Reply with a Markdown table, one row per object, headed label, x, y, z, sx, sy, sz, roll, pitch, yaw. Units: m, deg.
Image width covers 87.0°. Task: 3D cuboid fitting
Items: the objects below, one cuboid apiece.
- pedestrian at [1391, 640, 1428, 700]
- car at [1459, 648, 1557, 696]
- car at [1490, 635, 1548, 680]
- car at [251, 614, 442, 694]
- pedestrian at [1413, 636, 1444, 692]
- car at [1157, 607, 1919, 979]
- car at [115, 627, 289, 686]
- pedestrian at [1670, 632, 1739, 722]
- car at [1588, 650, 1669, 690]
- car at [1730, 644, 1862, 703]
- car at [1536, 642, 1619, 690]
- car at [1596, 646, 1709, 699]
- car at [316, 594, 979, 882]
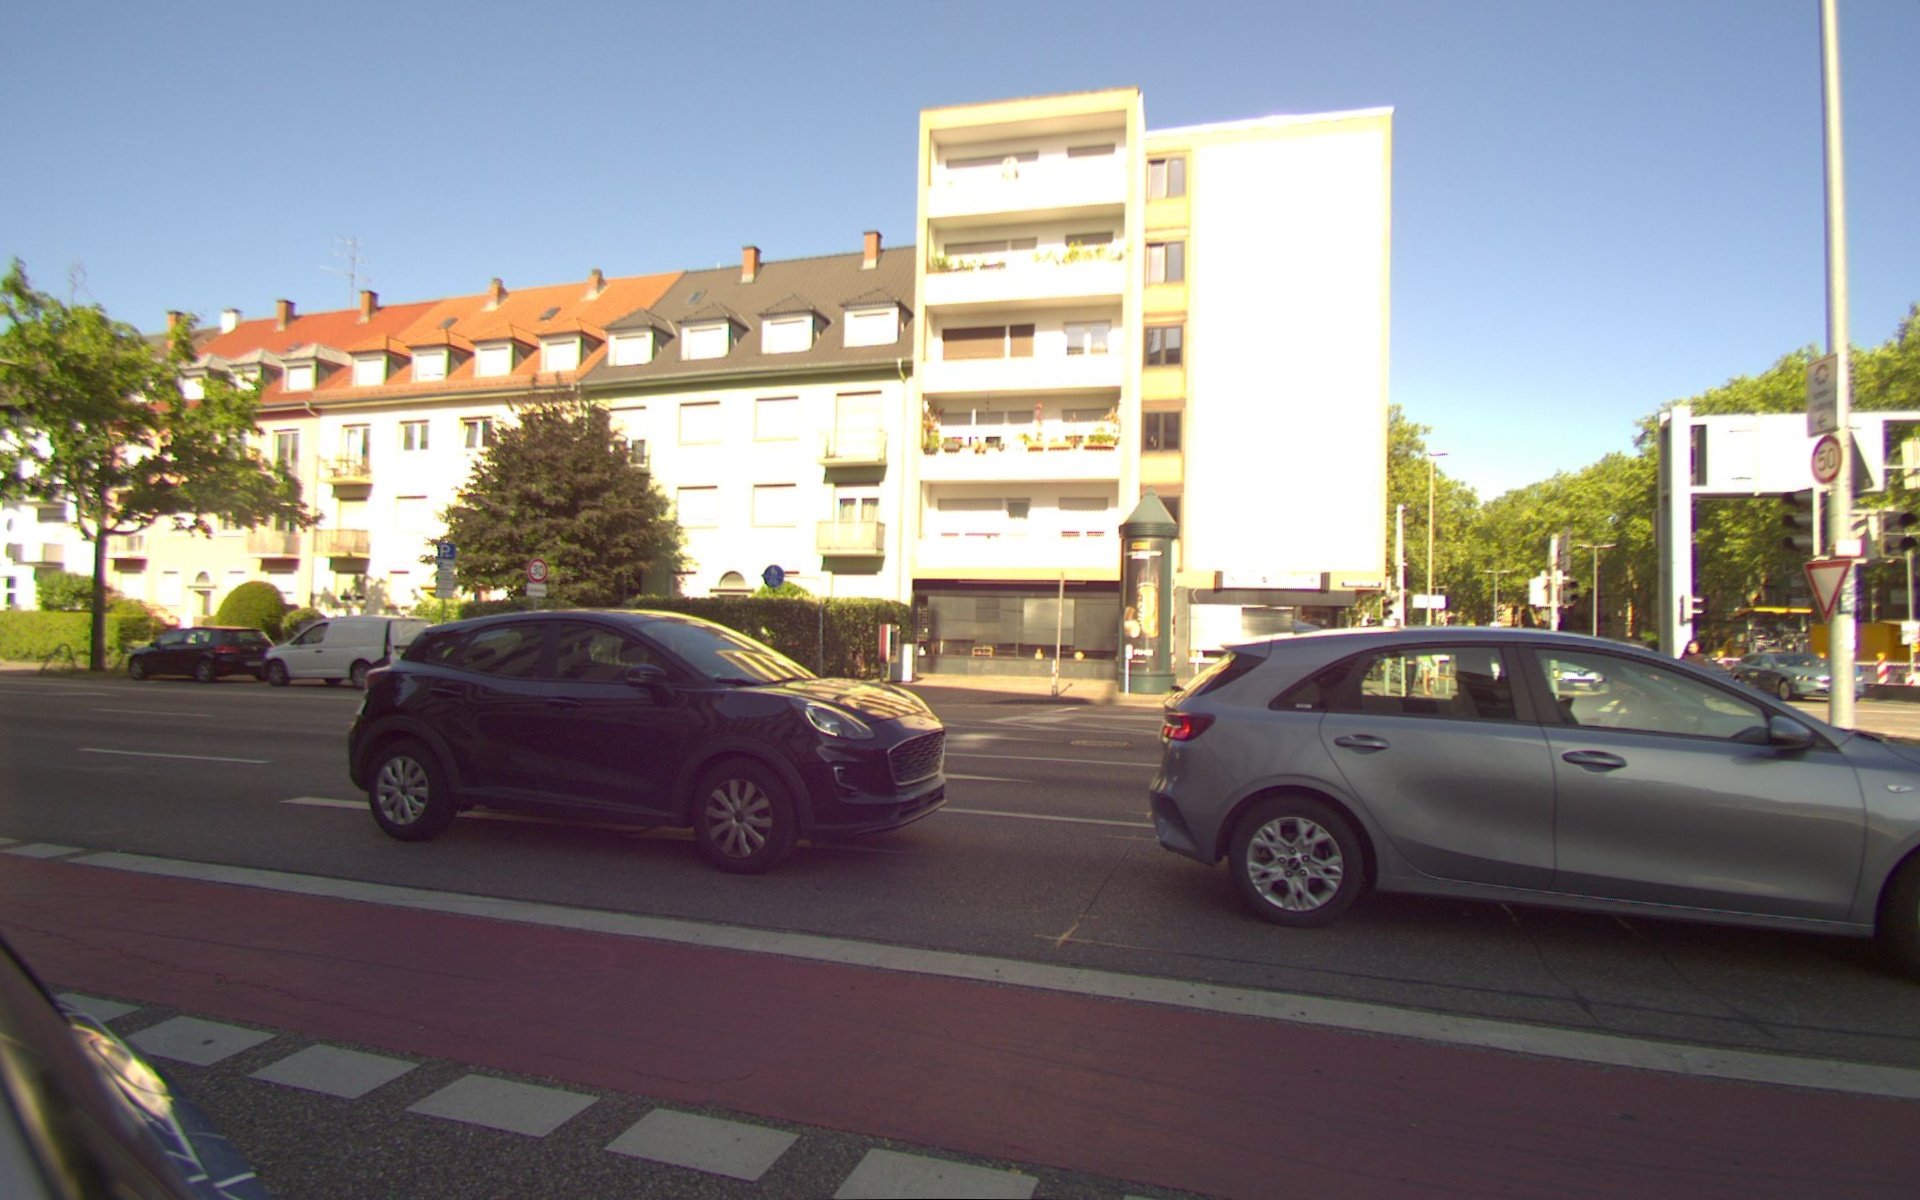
| label | x | y | z | sx | sy | sz | roll | pitch | yaw |
| --- | --- | --- | --- | --- | --- | --- | --- | --- | --- |
| pedestrian | 13.234 | 2.042 | 29.811 | 0.707 | 1.692 | 0.699 | -1 | 0 | -14 |
| car | 18.982 | 2.500 | 35.280 | 1.866 | 1.531 | 4.528 | -1 | -4 | 14 |
| car | 33.084 | 3.387 | 60.028 | 1.866 | 2.532 | 4.431 | 0 | -2 | 14 |
| car | -15.524 | 1.325 | 25.663 | 4.127 | 1.871 | 1.797 | -1 | 0 | 15 |
| pedestrian | 14.380 | 1.953 | 31.061 | 0.713 | 1.692 | 0.694 | -1 | 0 | 14 |
| car | 3.137 | 0.770 | 5.061 | 4.025 | 1.419 | 1.873 | -1 | -2 | 19 |
| car | -20.389 | 1.486 | 27.238 | 4.018 | 1.440 | 1.794 | -1 | 0 | 19 |
| pedestrian | 14.162 | 1.451 | 19.272 | 0.892 | 1.634 | 0.715 | -1 | 0 | 23 |
| car | 30.420 | 3.156 | 46.152 | 1.867 | 1.530 | 3.981 | -1 | 0 | 15 |
| car | 26.204 | 2.260 | 31.891 | 1.870 | 1.530 | 3.975 | -1 | 0 | 19 |
| car | 23.941 | 2.517 | 39.389 | 1.870 | 1.530 | 3.975 | -1 | 0 | 19 |
| car | 21.733 | 2.225 | 31.935 | 1.870 | 1.530 | 3.975 | -1 | -2 | 19 |
| car | -2.041 | 0.764 | 6.771 | 4.042 | 1.503 | 1.686 | -1 | -2 | 19 |
